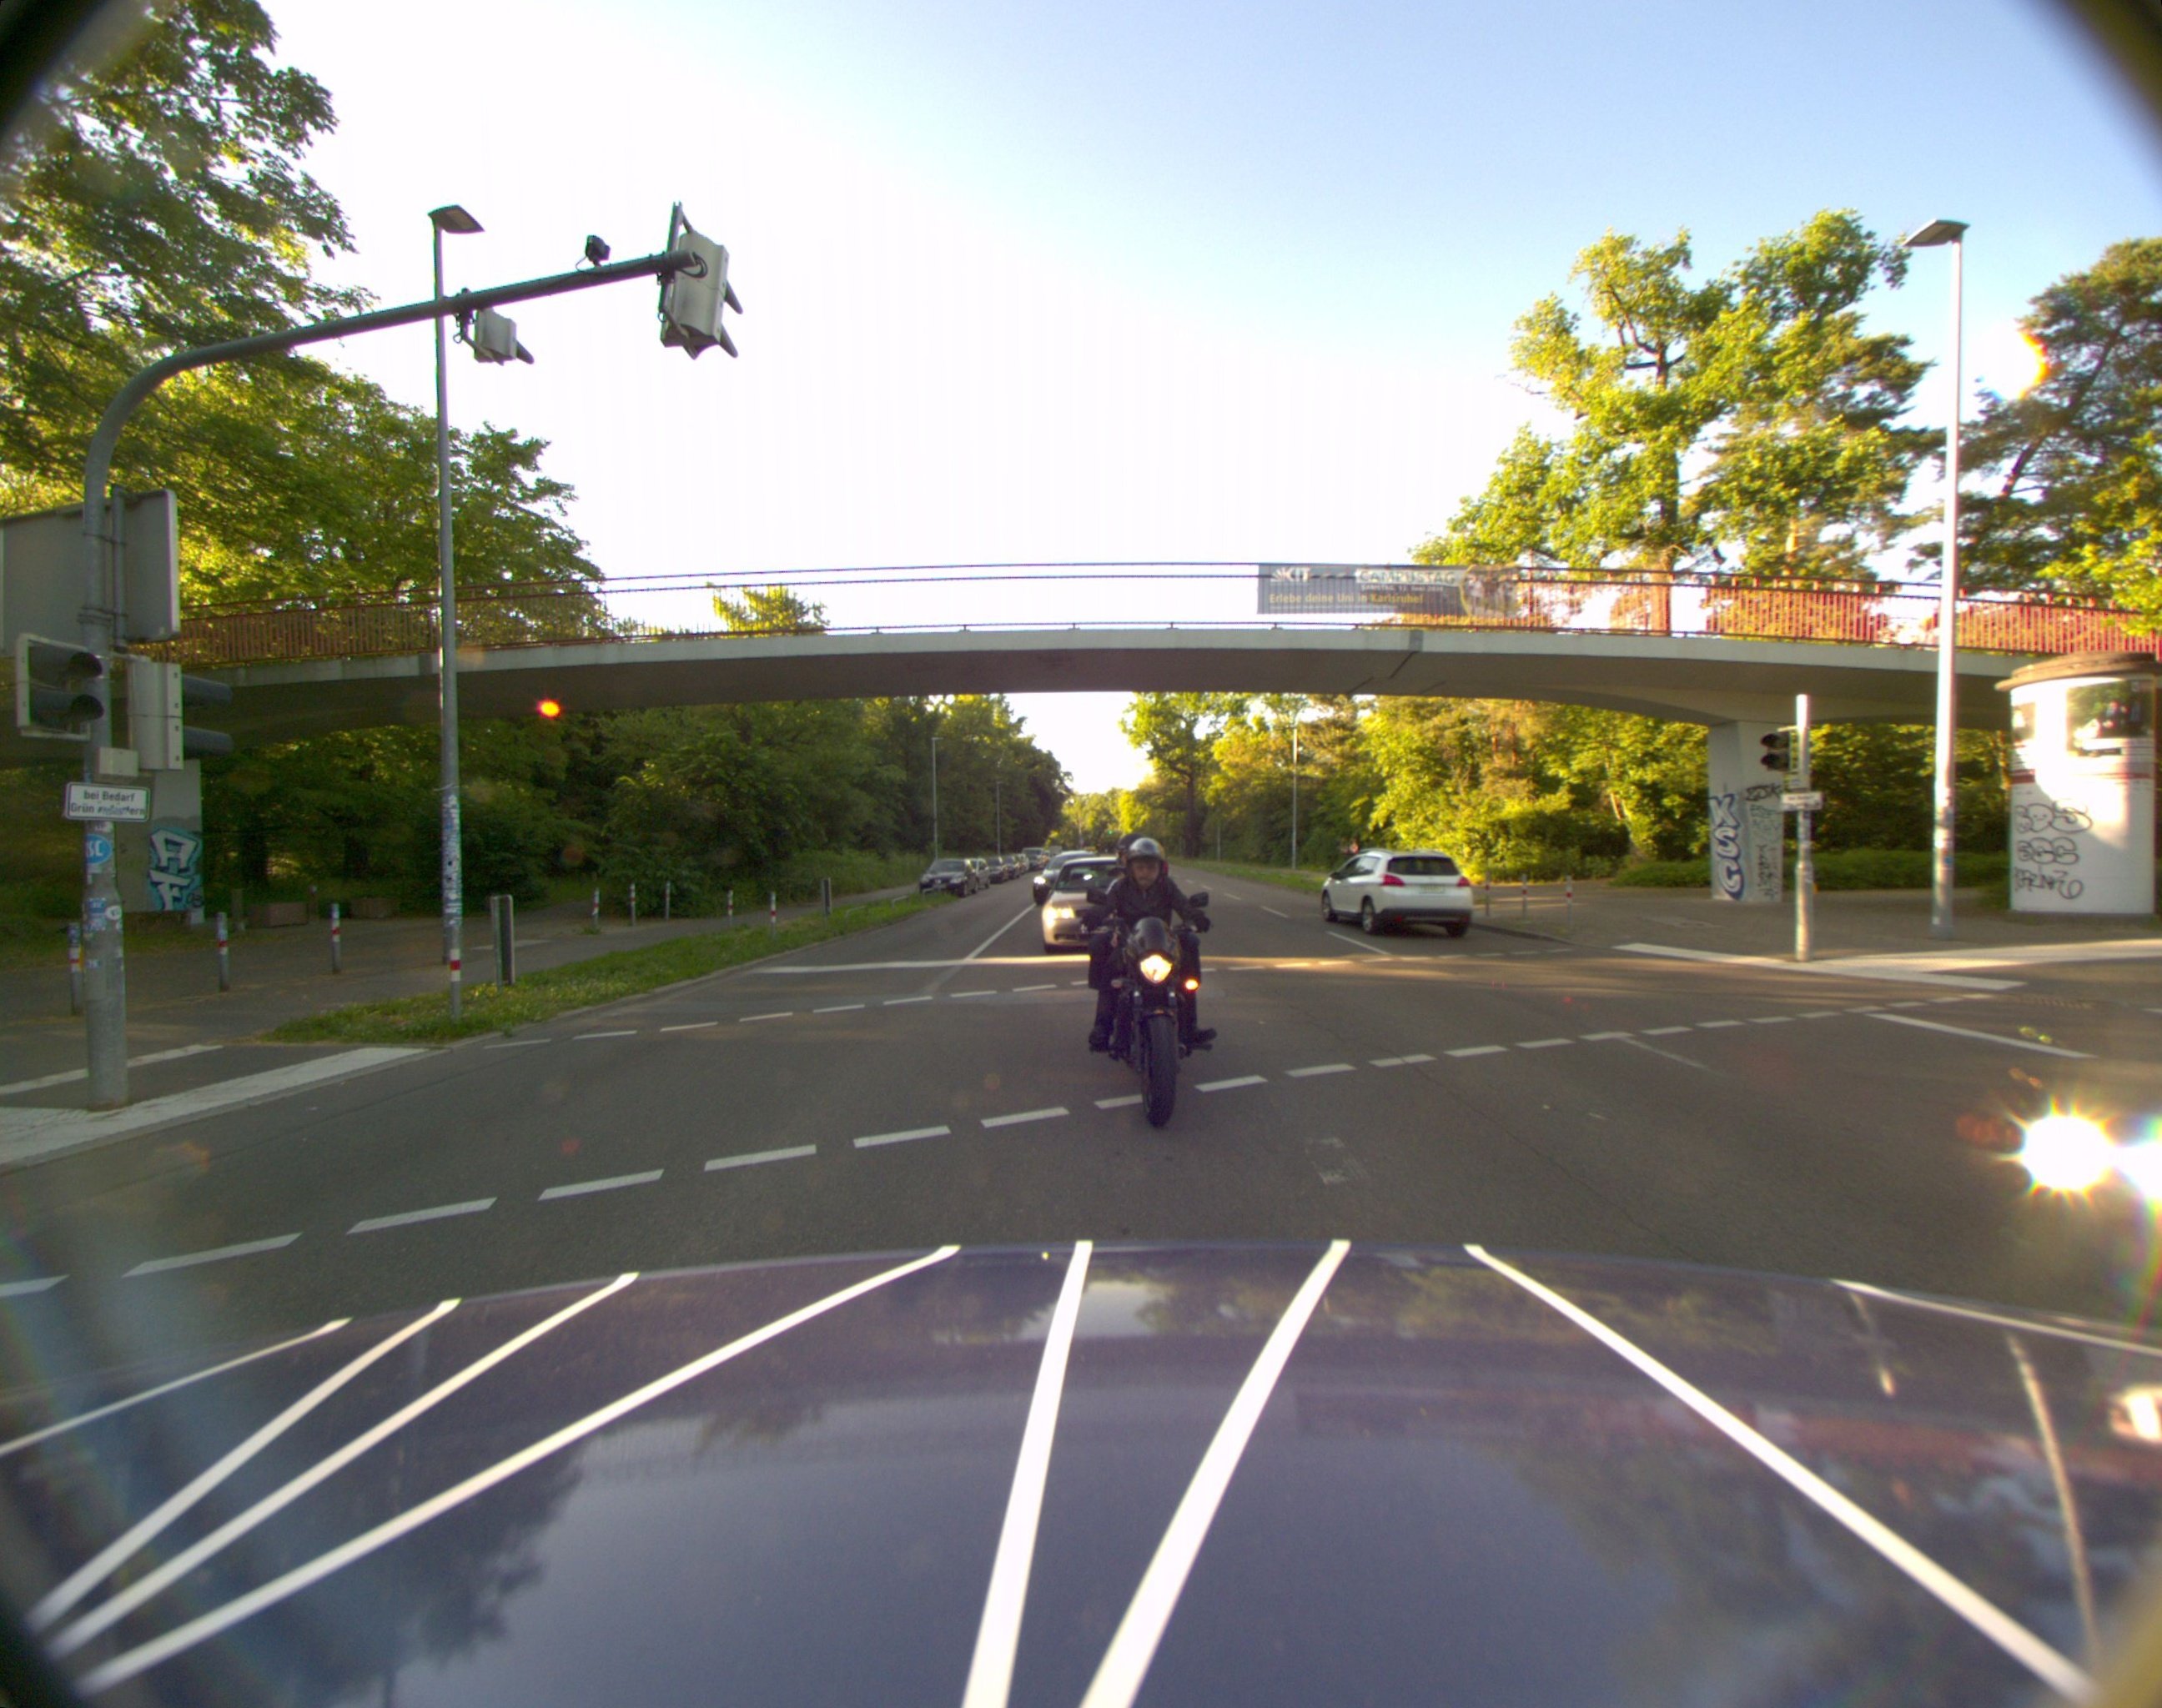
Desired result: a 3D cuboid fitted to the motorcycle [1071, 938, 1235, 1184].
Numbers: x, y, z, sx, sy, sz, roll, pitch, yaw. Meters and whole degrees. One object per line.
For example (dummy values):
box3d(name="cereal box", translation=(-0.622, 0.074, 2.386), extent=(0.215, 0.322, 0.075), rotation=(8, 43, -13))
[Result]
box3d(name="motorcycle", translation=(0.397, 1.198, 5.192), extent=(0.807, 0.907, 2.712), rotation=(-1, 1, 1))

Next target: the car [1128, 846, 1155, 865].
box3d(name="car", translation=(5.035, 0.111, 63.635), extent=(1.966, 1.497, 4.646), rotation=(-1, 1, 1))

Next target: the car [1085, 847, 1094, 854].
box3d(name="car", translation=(1.927, -0.763, 169.311), extent=(1.894, 1.491, 4.395), rotation=(0, 1, 1))

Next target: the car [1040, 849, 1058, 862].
box3d(name="car", translation=(-3.926, 0.200, 93.885), extent=(1.894, 1.537, 4.395), rotation=(0, 1, 1))

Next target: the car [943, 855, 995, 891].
box3d(name="car", translation=(-5.058, 0.821, 34.688), extent=(1.720, 1.499, 3.975), rotation=(0, 1, 1))

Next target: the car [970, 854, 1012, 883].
box3d(name="car", translation=(-4.851, 0.752, 41.632), extent=(1.736, 1.499, 4.153), rotation=(0, 1, 1))

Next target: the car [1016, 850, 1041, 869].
box3d(name="car", translation=(-4.333, 0.452, 63.456), extent=(1.736, 1.499, 4.395), rotation=(0, 1, 1))

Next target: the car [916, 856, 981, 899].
box3d(name="car", translation=(-5.085, 0.855, 29.691), extent=(1.694, 1.499, 4.125), rotation=(-1, 1, 1))

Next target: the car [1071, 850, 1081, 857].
box3d(name="car", translation=(-0.994, -0.170, 141.250), extent=(1.736, 1.237, 4.000), rotation=(-1, 1, 1))

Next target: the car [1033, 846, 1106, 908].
box3d(name="car", translation=(-0.305, 0.614, 24.133), extent=(1.998, 1.625, 5.885), rotation=(-1, 1, 0))

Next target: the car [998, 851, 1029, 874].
box3d(name="car", translation=(-4.658, 0.541, 52.858), extent=(1.736, 1.499, 4.226), rotation=(0, 1, 1))

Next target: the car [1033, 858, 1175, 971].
box3d(name="car", translation=(0.352, 0.828, 12.261), extent=(1.867, 1.381, 4.000), rotation=(-2, 1, 1))

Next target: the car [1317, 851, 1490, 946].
box3d(name="car", translation=(5.917, 0.725, 14.452), extent=(1.681, 1.515, 3.901), rotation=(1, 1, 1))

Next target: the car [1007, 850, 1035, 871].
box3d(name="car", translation=(-4.529, 0.499, 58.061), extent=(1.736, 1.499, 4.395), rotation=(0, 1, 1))

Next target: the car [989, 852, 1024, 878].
box3d(name="car", translation=(-4.592, 0.621, 47.238), extent=(1.704, 1.499, 4.136), rotation=(0, 1, 1))

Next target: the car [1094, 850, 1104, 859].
box3d(name="car", translation=(2.733, 0.016, 114.898), extent=(1.465, 1.237, 4.000), rotation=(-1, 1, 1))

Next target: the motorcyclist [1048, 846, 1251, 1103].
box3d(name="motorcyclist", translation=(0.409, 0.691, 5.149), extent=(1.138, 1.420, 1.566), rotation=(-1, 3, 1))

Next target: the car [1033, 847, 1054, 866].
box3d(name="car", translation=(-4.062, 0.286, 82.632), extent=(1.951, 1.964, 4.395), rotation=(0, 1, 1))

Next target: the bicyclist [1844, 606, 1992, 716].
box3d(name="bicyclist", translation=(19.188, -4.392, 17.488), extent=(1.682, 2.157, 1.412), rotation=(2, 2, 3))

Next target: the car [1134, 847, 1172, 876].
box3d(name="car", translation=(3.885, 0.366, 41.435), extent=(1.754, 1.448, 3.639), rotation=(1, 1, 1))

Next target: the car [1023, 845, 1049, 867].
box3d(name="car", translation=(-4.099, 0.159, 70.181), extent=(2.017, 1.964, 5.041), rotation=(0, 1, 1))
